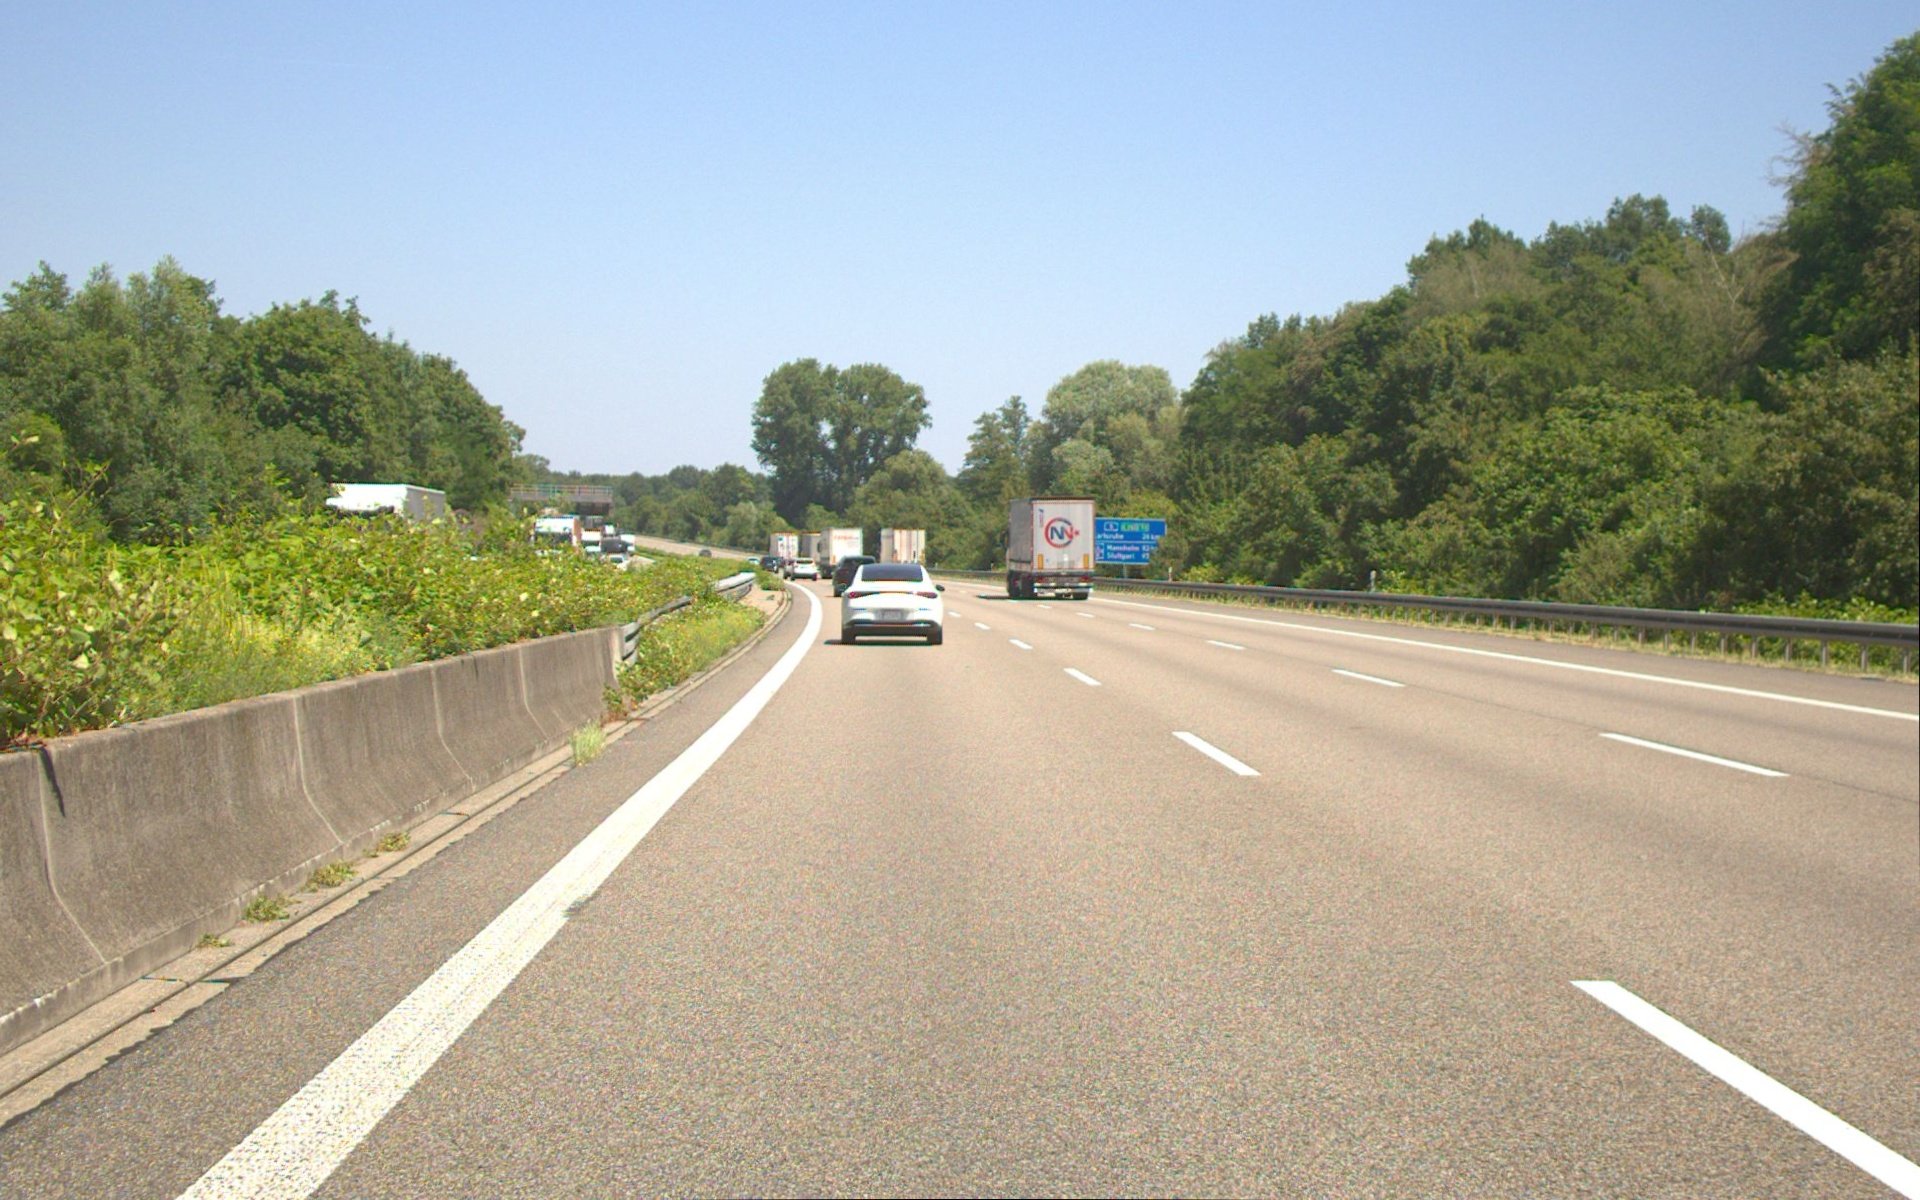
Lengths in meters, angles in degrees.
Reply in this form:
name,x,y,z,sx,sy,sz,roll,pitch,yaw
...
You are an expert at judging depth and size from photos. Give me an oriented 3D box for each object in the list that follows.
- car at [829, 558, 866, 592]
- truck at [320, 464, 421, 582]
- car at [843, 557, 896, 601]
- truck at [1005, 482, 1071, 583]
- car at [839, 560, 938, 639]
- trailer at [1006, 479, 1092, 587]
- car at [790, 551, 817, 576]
name,x,y,z,sx,sy,sz,roll,pitch,yaw
car,-6.829,-1.513,208.920,1.993,2.007,4.001,1,1,-5
truck,-20.566,-2.675,120.227,2.660,3.971,6.555,1,1,-2
car,-3.782,-0.898,143.426,1.993,1.766,4.001,1,1,-4
truck,3.365,-2.919,149.410,2.605,4.272,5.436,1,1,-1
car,-1.272,-0.031,62.246,1.715,1.365,3.375,1,1,0
trailer,3.611,-2.745,142.667,2.624,4.246,14.062,1,1,-2
car,-11.462,-2.696,251.566,1.723,1.777,4.001,1,1,-6
